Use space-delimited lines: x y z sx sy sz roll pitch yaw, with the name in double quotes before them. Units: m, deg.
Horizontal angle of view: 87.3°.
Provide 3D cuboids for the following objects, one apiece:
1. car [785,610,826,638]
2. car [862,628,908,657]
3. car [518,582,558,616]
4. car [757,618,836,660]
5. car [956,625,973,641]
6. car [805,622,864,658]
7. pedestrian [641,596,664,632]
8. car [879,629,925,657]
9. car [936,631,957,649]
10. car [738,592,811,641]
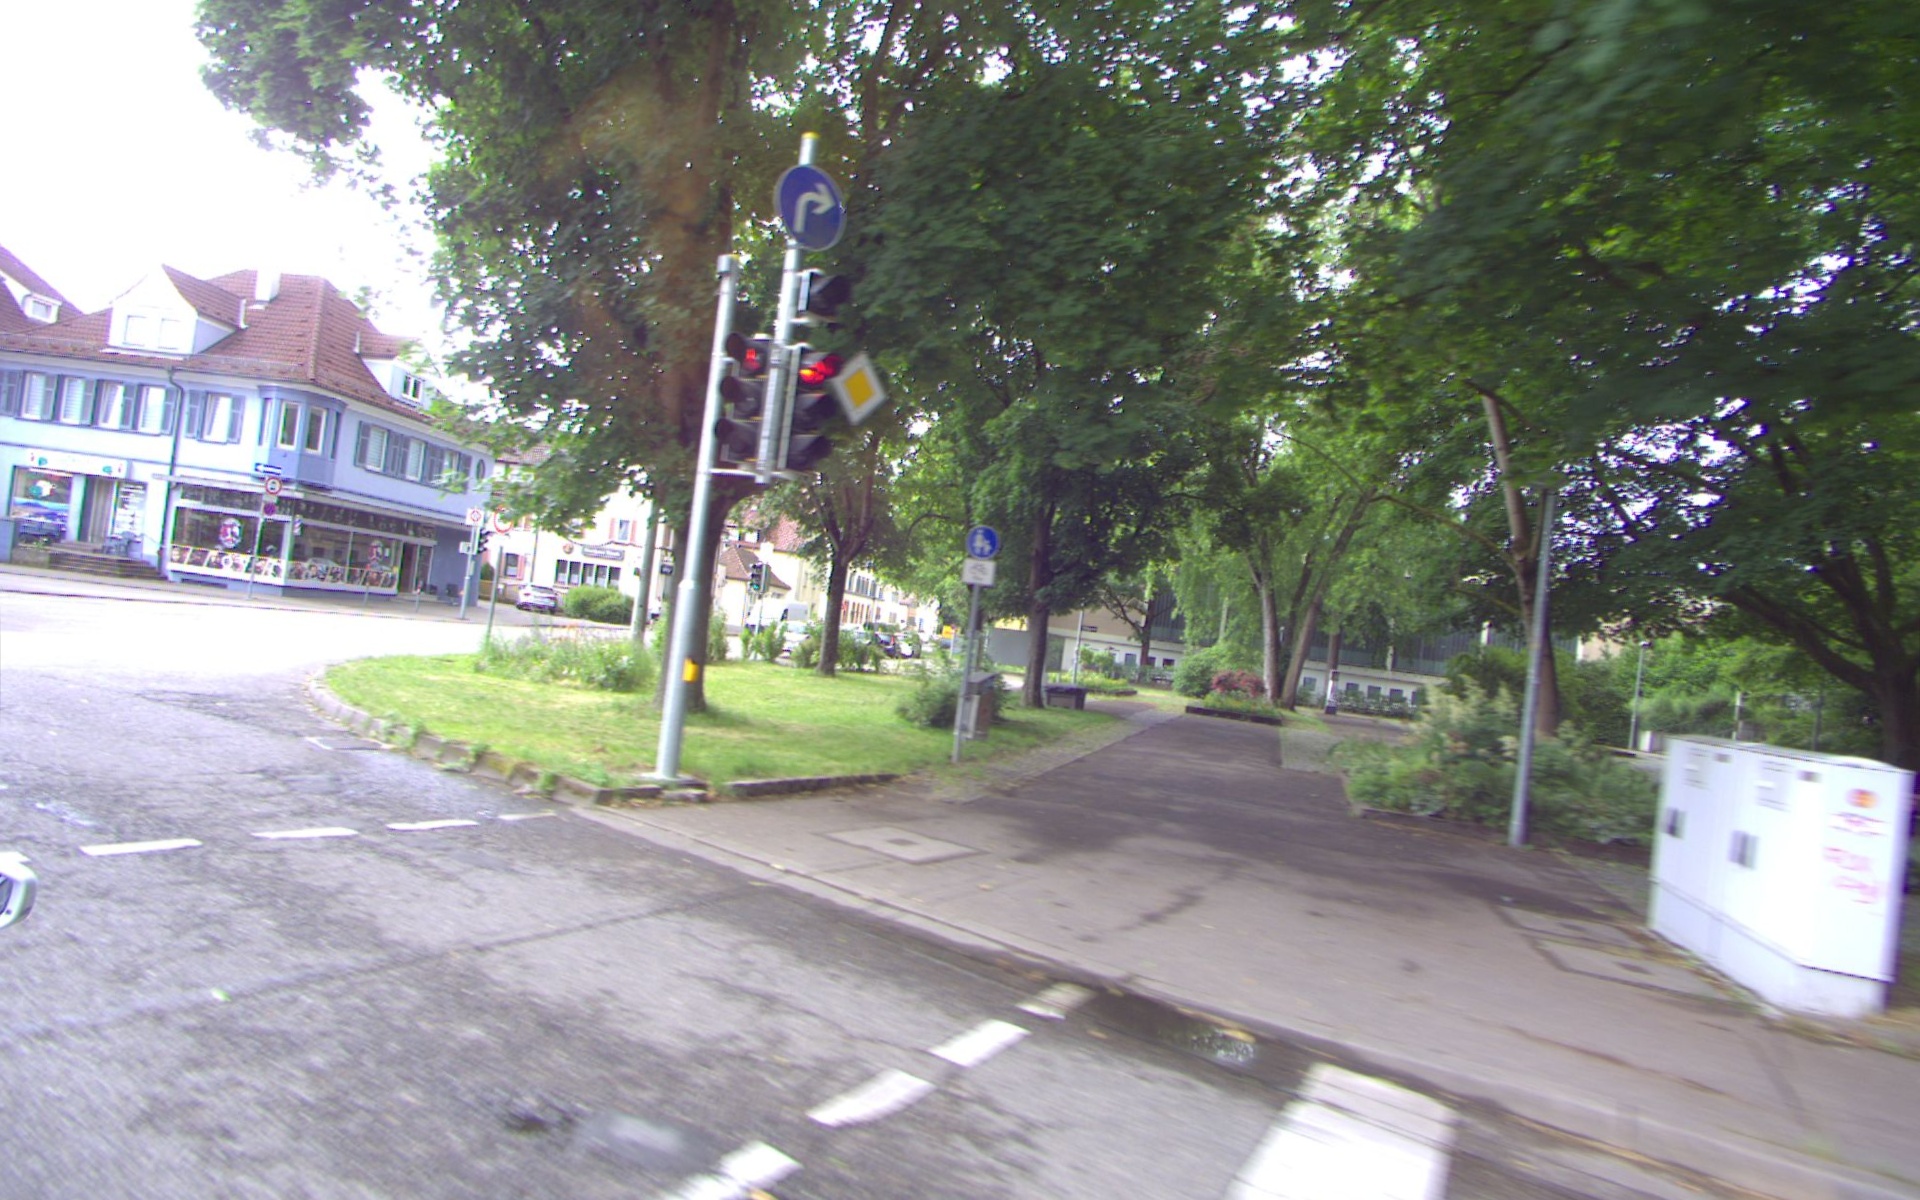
"car" -11.288 1.768 73.776 1.902 1.748 3.785 7 -2 6
"car" -4.250 2.436 57.417 1.706 1.406 3.745 7 -2 8
"car" -21.323 -0.062 50.819 1.552 1.479 3.419 8 -2 -26
"car" -6.752 1.660 42.068 1.864 1.473 4.552 7 -2 8
"car" 0.633 4.849 146.164 1.962 2.037 4.004 7 -2 4
"car" -6.029 1.977 48.849 1.767 1.473 3.963 7 -2 8
"pedestrian" -15.573 0.708 51.015 0.743 1.717 0.647 7 -1 4
"car" -3.612 2.726 63.499 1.888 1.473 4.407 7 -2 8
"car" -1.658 5.115 127.251 1.962 2.037 4.004 7 -2 6
"car" -10.878 1.028 59.524 2.291 2.420 5.966 6 -2 8
